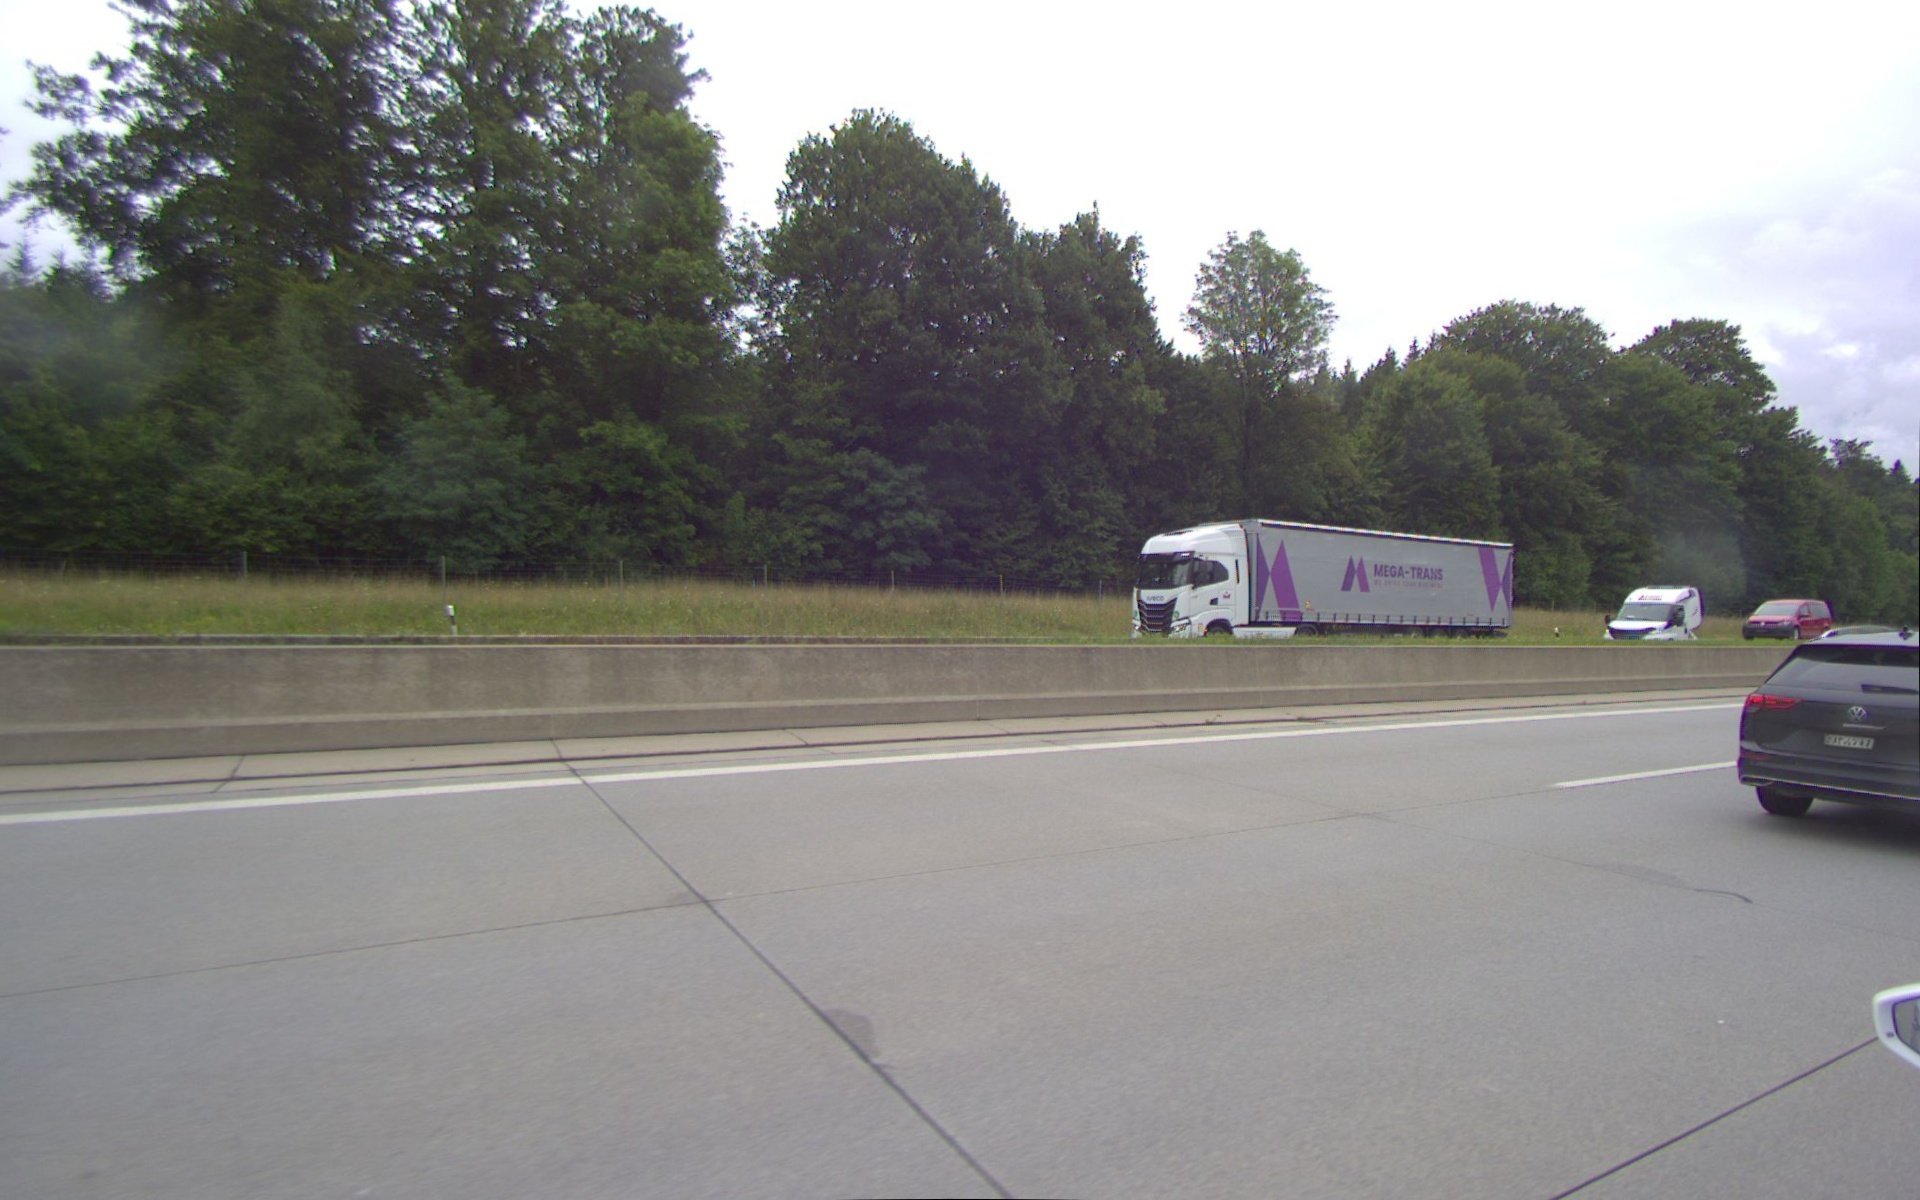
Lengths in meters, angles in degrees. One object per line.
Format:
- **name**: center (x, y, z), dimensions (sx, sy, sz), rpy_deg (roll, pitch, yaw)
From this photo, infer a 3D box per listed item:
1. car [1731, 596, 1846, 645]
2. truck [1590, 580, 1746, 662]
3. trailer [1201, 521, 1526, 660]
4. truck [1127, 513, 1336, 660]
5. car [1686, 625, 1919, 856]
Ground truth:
- **car**: center (35.097, 0.891, 42.521), dimensions (5.249, 1.907, 1.985), rpy_deg (2, 0, -29)
- **truck**: center (26.315, 0.785, 37.251), dimensions (6.435, 2.825, 2.257), rpy_deg (1, 0, -30)
- **trailer**: center (14.357, -0.134, 34.768), dimensions (13.812, 4.158, 2.486), rpy_deg (1, 0, -31)
- **truck**: center (8.527, -0.330, 31.326), dimensions (6.385, 4.180, 2.496), rpy_deg (1, 0, -30)
- **car**: center (7.708, 0.936, 7.752), dimensions (4.430, 1.416, 1.744), rpy_deg (1, -1, -30)
